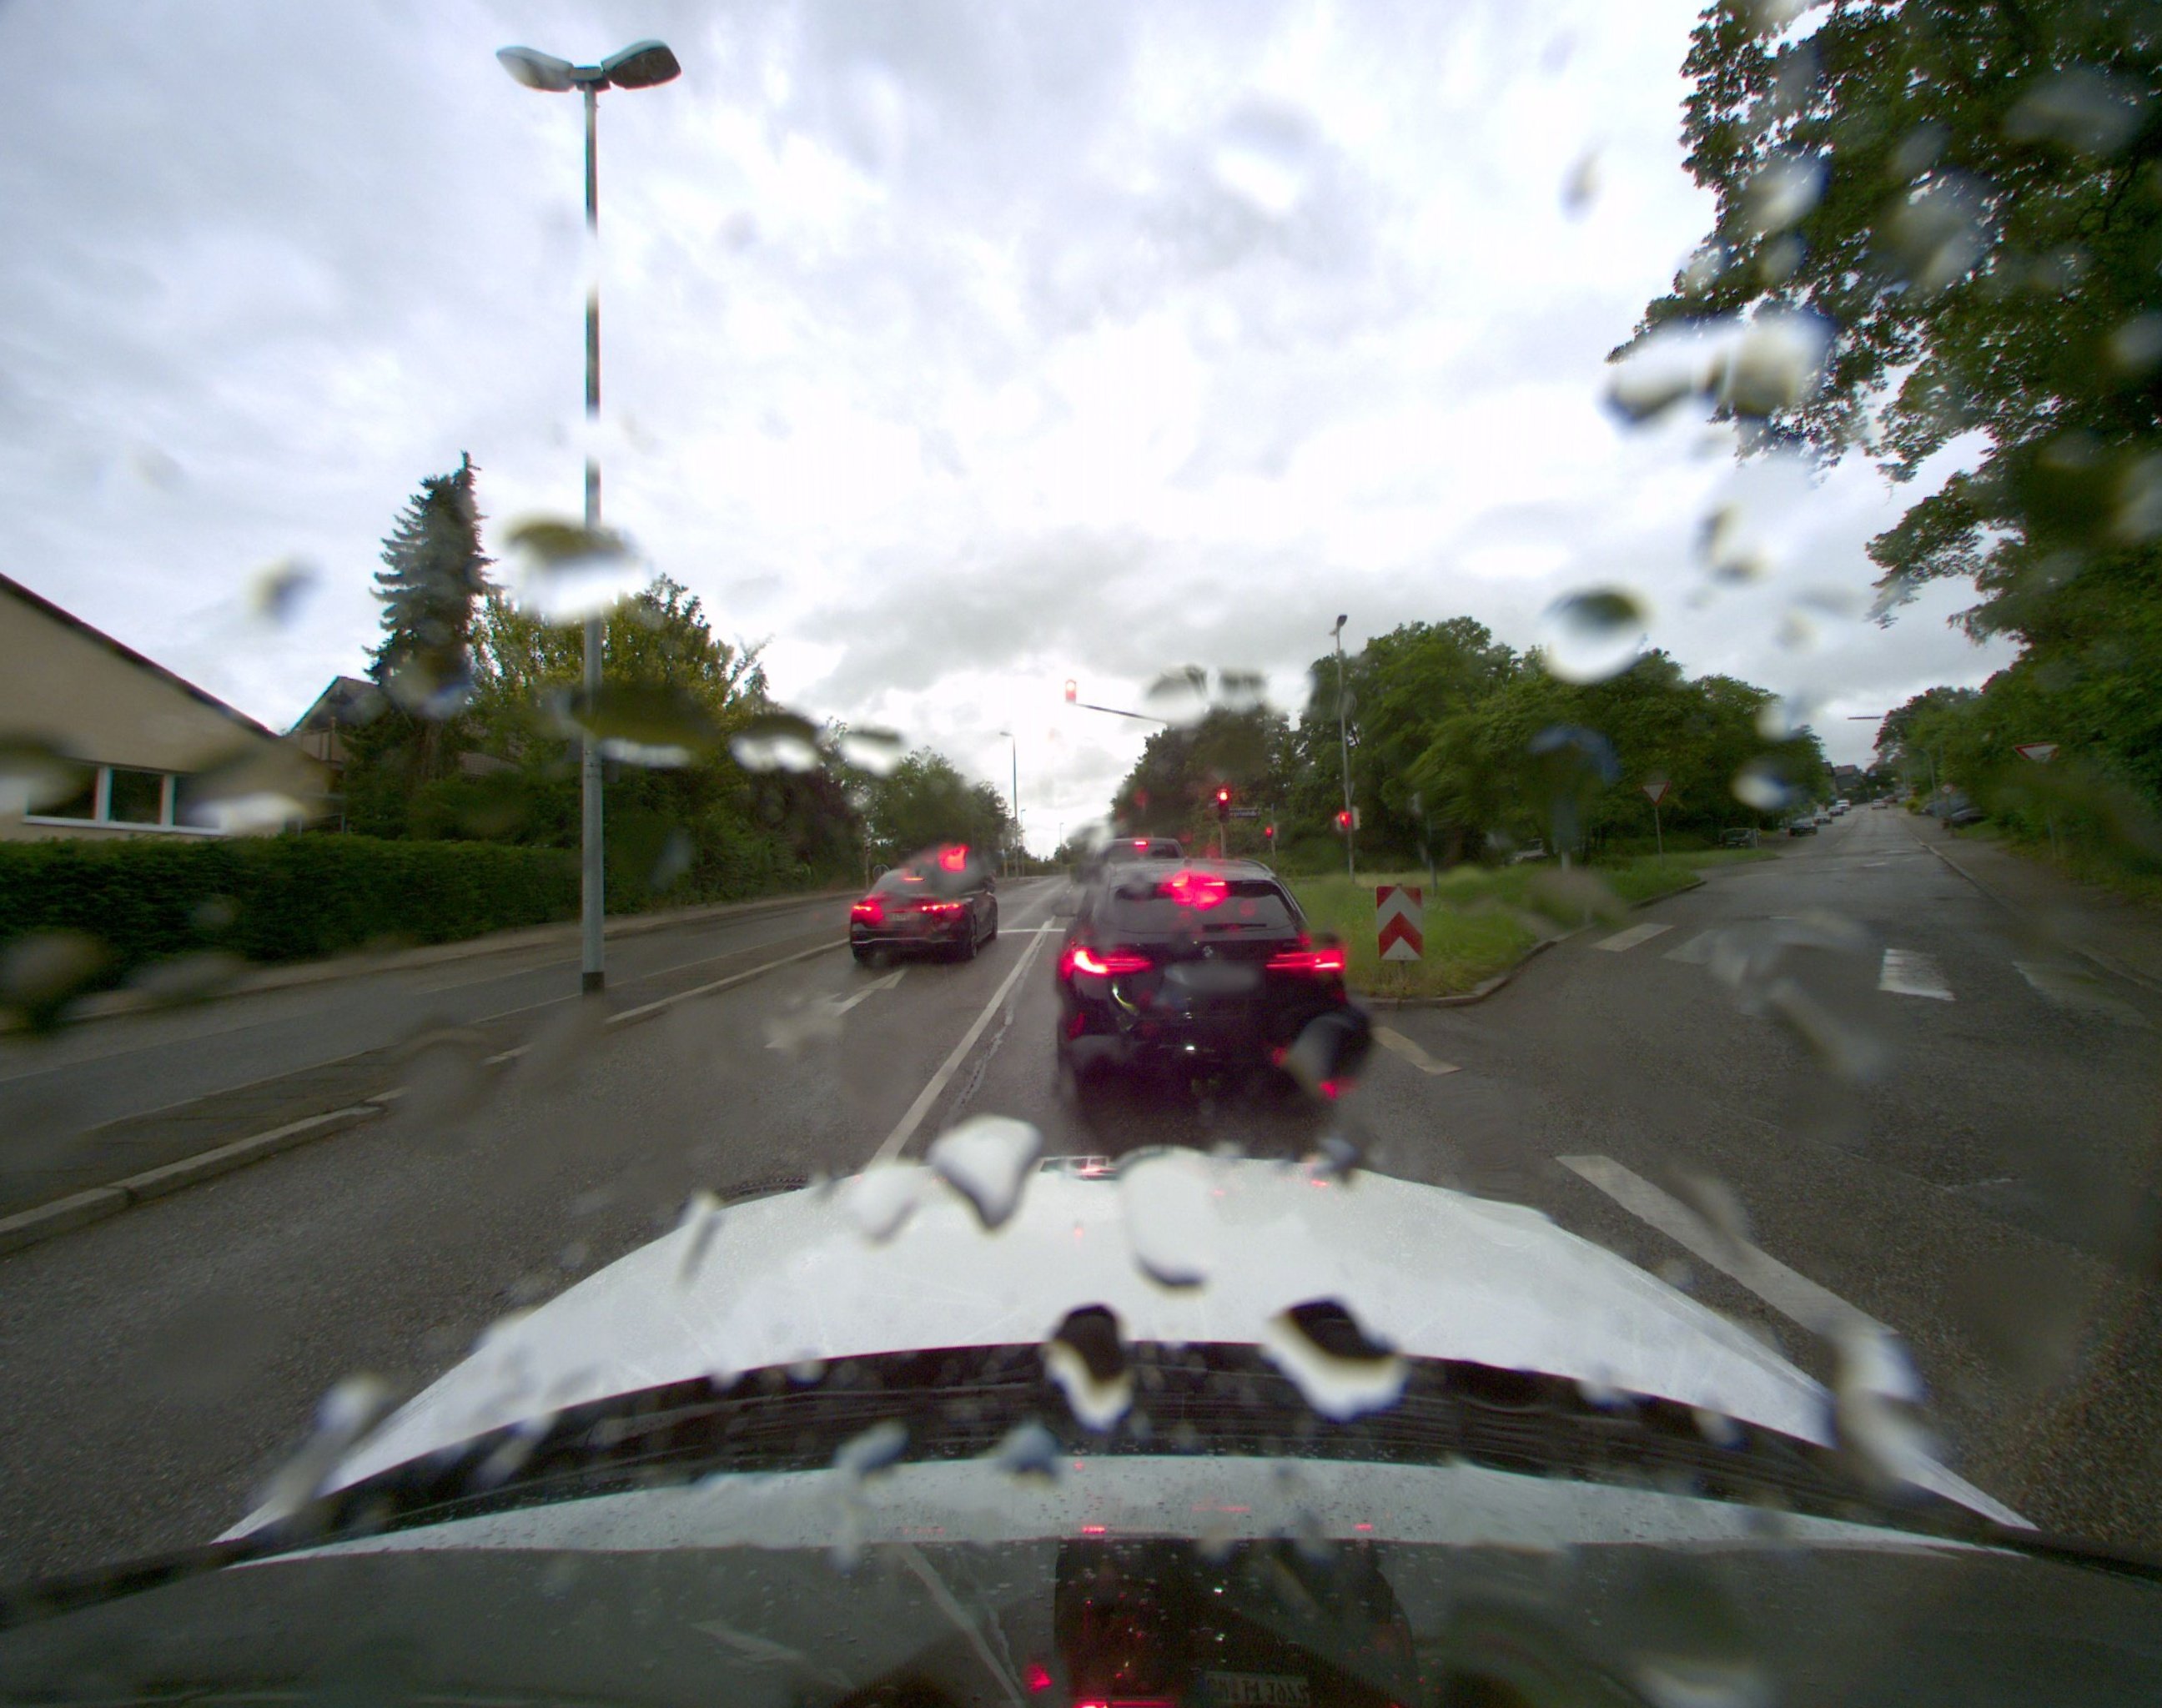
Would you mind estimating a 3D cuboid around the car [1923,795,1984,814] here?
[{"bbox_3d":[87.608,-4.948,81.817,3.949,1.574,1.785,-5,-2,42],"label":"car"}]

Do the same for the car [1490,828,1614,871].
[{"bbox_3d":[21.840,-0.197,37.859,4.698,1.717,1.995,-3,0,-8],"label":"car"}]

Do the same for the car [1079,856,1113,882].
[{"bbox_3d":[0.900,0.933,50.750,1.695,1.427,3.507,-4,-1,-5],"label":"car"}]

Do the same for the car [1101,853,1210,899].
[{"bbox_3d":[3.050,0.886,33.550,4.028,1.602,1.738,-4,0,-17],"label":"car"}]

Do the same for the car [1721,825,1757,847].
[{"bbox_3d":[46.027,-1.268,56.921,1.655,1.370,3.512,-3,0,43],"label":"car"}]

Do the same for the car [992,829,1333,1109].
[{"bbox_3d":[0.660,0.700,6.905,1.889,1.551,4.621,-1,-1,5],"label":"car"}]

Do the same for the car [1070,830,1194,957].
[{"bbox_3d":[0.845,0.610,14.098,1.811,1.868,3.954,-1,-1,2],"label":"car"}]

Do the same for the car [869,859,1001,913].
[{"bbox_3d":[-4.815,1.027,27.279,1.877,1.509,4.026,-4,0,39],"label":"car"}]

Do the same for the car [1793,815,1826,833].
[{"bbox_3d":[66.275,-2.712,74.040,4.318,1.450,1.881,0,-1,-44],"label":"car"}]

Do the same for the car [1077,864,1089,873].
[{"bbox_3d":[0.528,3.192,177.032,1.982,1.826,4.009,-4,-1,8],"label":"car"}]

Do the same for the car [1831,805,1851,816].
[{"bbox_3d":[114.485,-6.534,122.701,1.880,1.397,4.193,-2,-1,40],"label":"car"}]

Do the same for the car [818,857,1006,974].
[{"bbox_3d":[-2.592,0.893,13.664,1.986,1.527,4.330,-4,-1,2],"label":"car"}]

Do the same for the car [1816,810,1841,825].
[{"bbox_3d":[88.201,-4.298,96.173,1.971,1.446,4.321,-2,-1,40],"label":"car"}]
